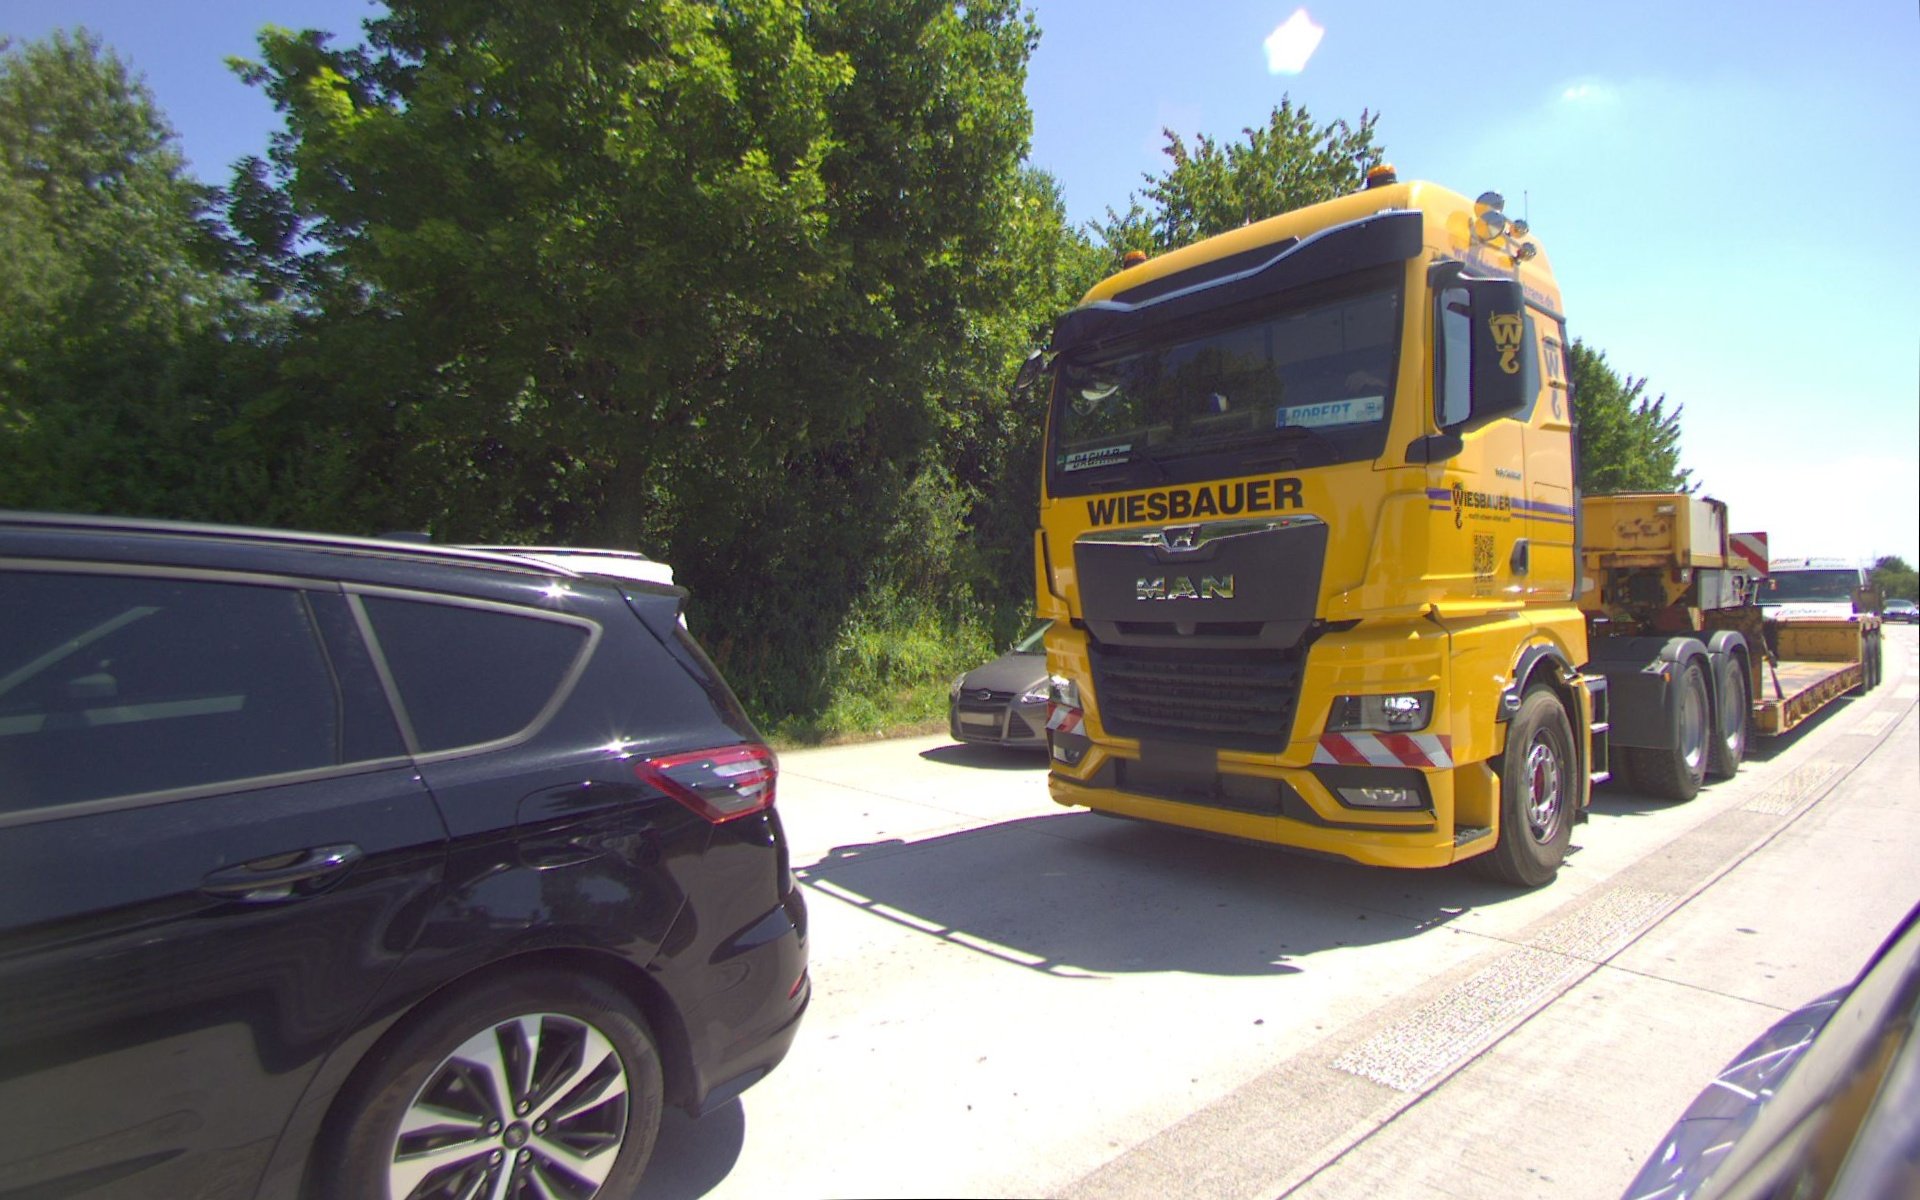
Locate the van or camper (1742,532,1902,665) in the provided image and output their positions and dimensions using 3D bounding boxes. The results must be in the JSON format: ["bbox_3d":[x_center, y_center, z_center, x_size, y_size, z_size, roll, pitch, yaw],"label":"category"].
[{"bbox_3d":[19.374,-0.072,22.630,5.809,2.606,2.065,-1,1,-43],"label":"van or camper"}]

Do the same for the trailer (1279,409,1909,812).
[{"bbox_3d":[9.662,0.018,13.247,16.082,2.626,3.030,0,0,-43],"label":"trailer"}]

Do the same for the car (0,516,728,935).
[{"bbox_3d":[-3.896,0.526,5.890,4.711,1.830,1.770,-1,1,-42],"label":"car"}]

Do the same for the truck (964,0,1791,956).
[{"bbox_3d":[3.728,-0.548,7.649,7.345,3.820,3.016,-1,0,-43],"label":"truck"}]

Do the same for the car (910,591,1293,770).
[{"bbox_3d":[1.667,0.672,10.769,4.292,1.480,1.769,-1,1,-44],"label":"car"}]

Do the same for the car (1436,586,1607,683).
[{"bbox_3d":[10.560,0.552,18.899,1.767,1.581,4.299,0,1,44],"label":"car"}]

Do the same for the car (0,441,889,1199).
[{"bbox_3d":[-2.494,0.587,1.899,4.566,1.660,1.786,-1,1,-41],"label":"car"}]

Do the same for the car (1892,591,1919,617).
[{"bbox_3d":[56.591,0.220,59.920,3.935,1.482,1.887,-1,1,-45],"label":"car"}]
